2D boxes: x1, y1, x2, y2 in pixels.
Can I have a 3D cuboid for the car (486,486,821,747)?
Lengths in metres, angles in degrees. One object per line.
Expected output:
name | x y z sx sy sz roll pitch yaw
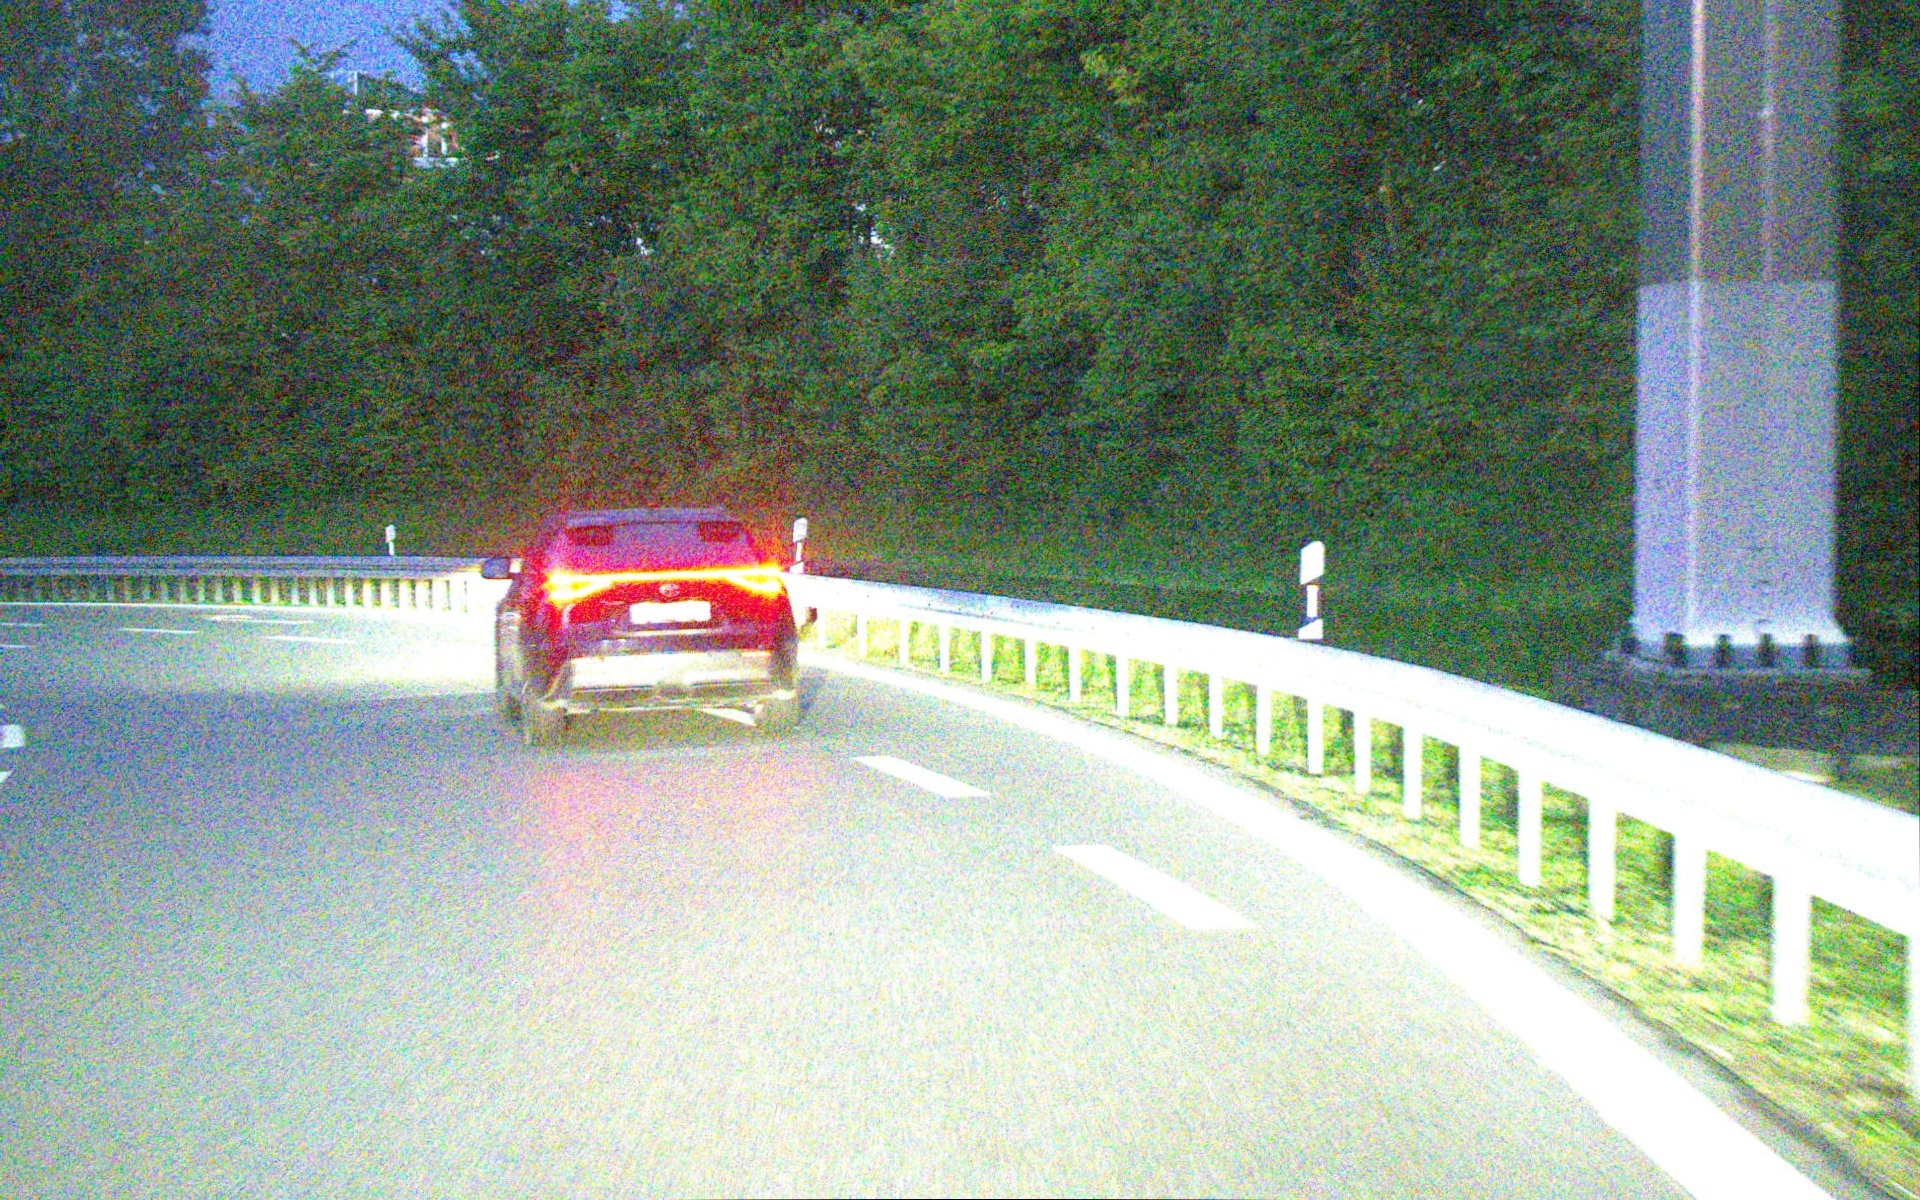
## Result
car | -2.301 0.041 24.737 1.993 1.653 4.316 -2 2 -10
